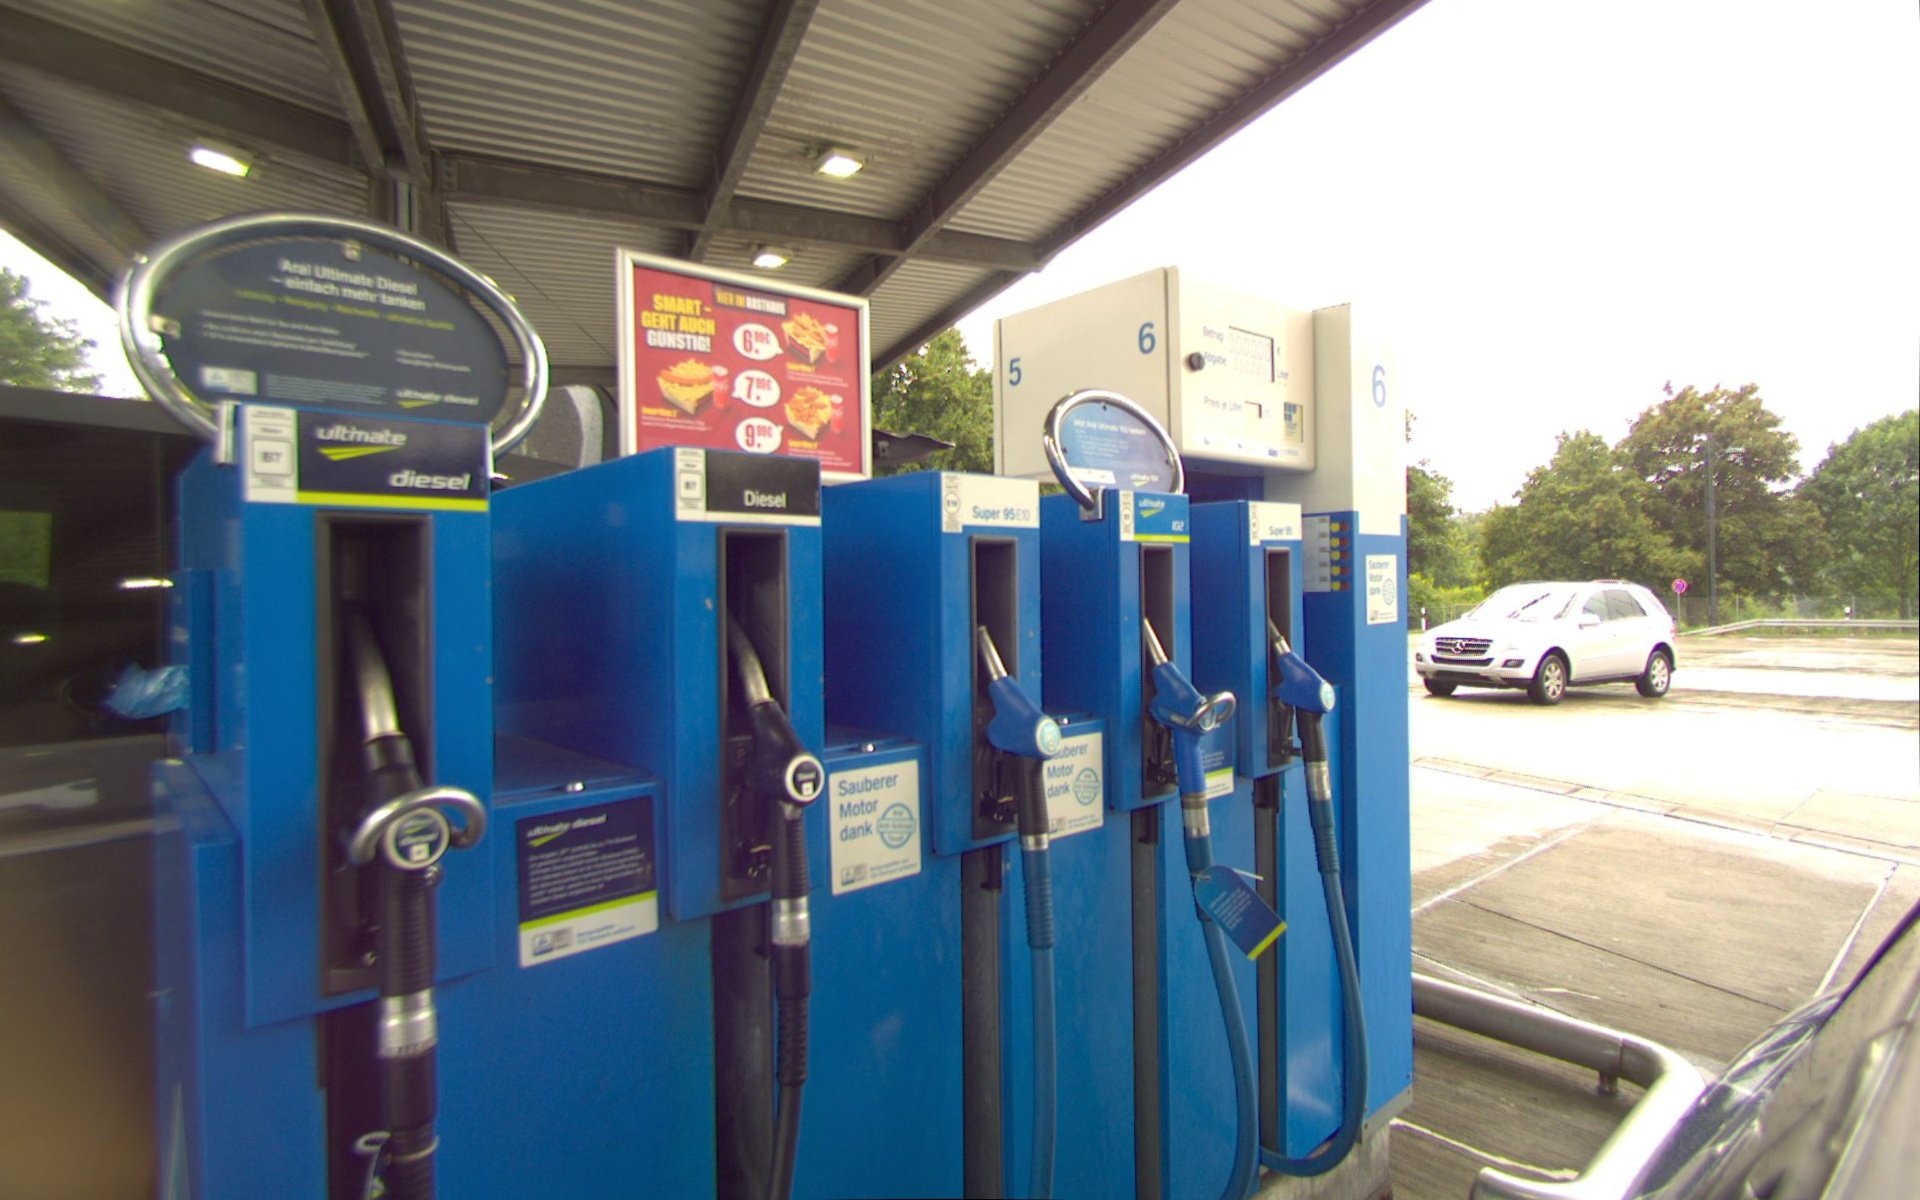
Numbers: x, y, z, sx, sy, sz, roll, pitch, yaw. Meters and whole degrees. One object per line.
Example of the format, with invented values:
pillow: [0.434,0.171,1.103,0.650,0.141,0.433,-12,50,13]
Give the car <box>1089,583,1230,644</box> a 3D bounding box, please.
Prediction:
car: [5.859,0.371,29.726,3.941,1.680,1.593,1,0,14]

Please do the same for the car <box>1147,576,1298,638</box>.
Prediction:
car: [8.875,0.204,34.499,4.817,1.974,2.306,1,1,14]

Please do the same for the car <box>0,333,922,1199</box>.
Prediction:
car: [-2.612,0.502,1.813,5.050,1.821,1.864,-1,0,-41]

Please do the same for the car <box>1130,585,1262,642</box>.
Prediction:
car: [7.413,0.382,31.917,3.941,1.680,1.593,1,0,14]

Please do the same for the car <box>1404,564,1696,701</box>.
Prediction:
car: [9.019,0.450,15.385,4.448,1.821,1.869,1,0,-30]
